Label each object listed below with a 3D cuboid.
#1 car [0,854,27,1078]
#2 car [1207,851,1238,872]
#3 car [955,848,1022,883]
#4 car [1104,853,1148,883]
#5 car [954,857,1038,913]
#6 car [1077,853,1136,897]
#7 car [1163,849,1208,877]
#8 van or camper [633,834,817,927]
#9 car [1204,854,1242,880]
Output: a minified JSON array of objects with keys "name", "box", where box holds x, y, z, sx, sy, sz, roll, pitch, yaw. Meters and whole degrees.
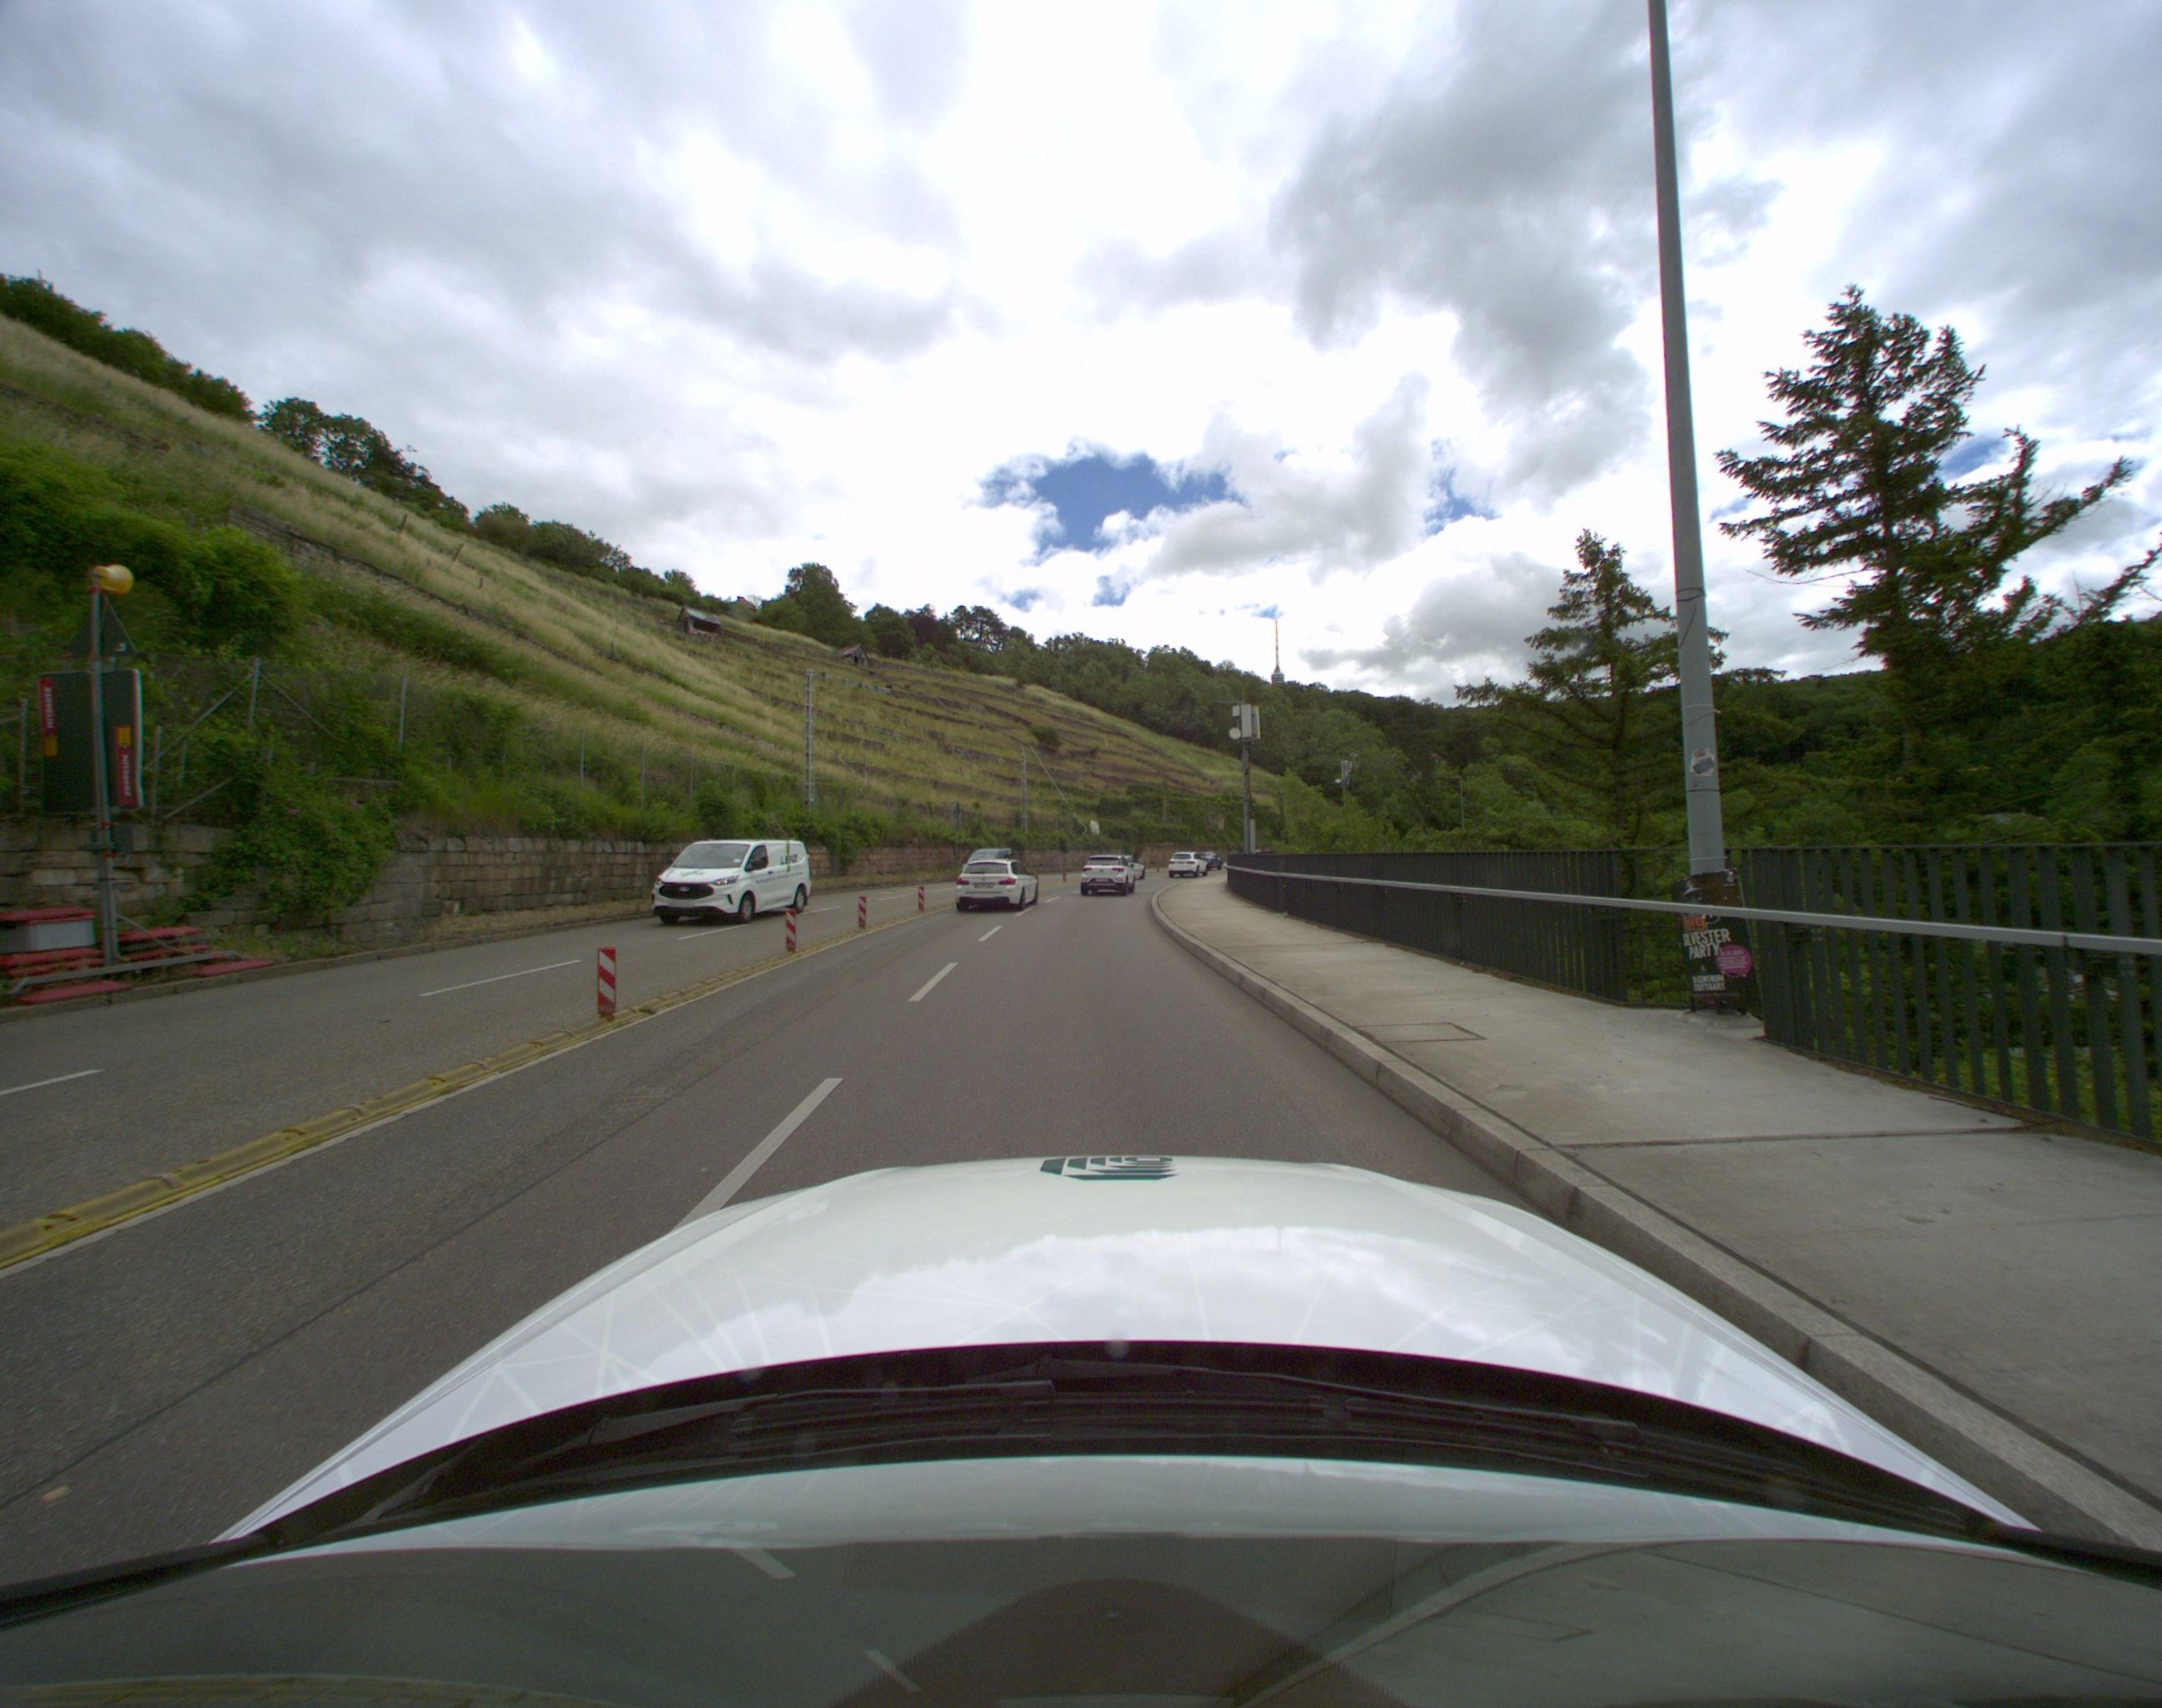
[{"name":"car","box":[-8.787,0.859,3.864,1.858,1.623,4.348,-1,1,0]},{"name":"car","box":[13.510,0.779,77.690,1.852,1.762,4.022,-3,-4,25]},{"name":"car","box":[-4.927,0.569,44.155,1.836,1.782,4.754,1,0,16]},{"name":"car","box":[2.747,0.853,48.447,1.981,1.503,4.679,-5,-2,10]},{"name":"car","box":[-2.386,0.833,23.988,1.820,1.459,4.488,-1,0,2]},{"name":"car","box":[1.090,0.783,32.401,1.817,1.605,4.011,0,0,9]},{"name":"car","box":[6.882,0.564,53.162,1.977,1.718,4.134,-2,0,20]},{"name":"van or camper","box":[-8.552,0.557,20.173,2.139,2.016,4.968,1,0,3]},{"name":"car","box":[12.180,1.093,69.776,1.975,2.014,4.024,-5,-2,27]}]
